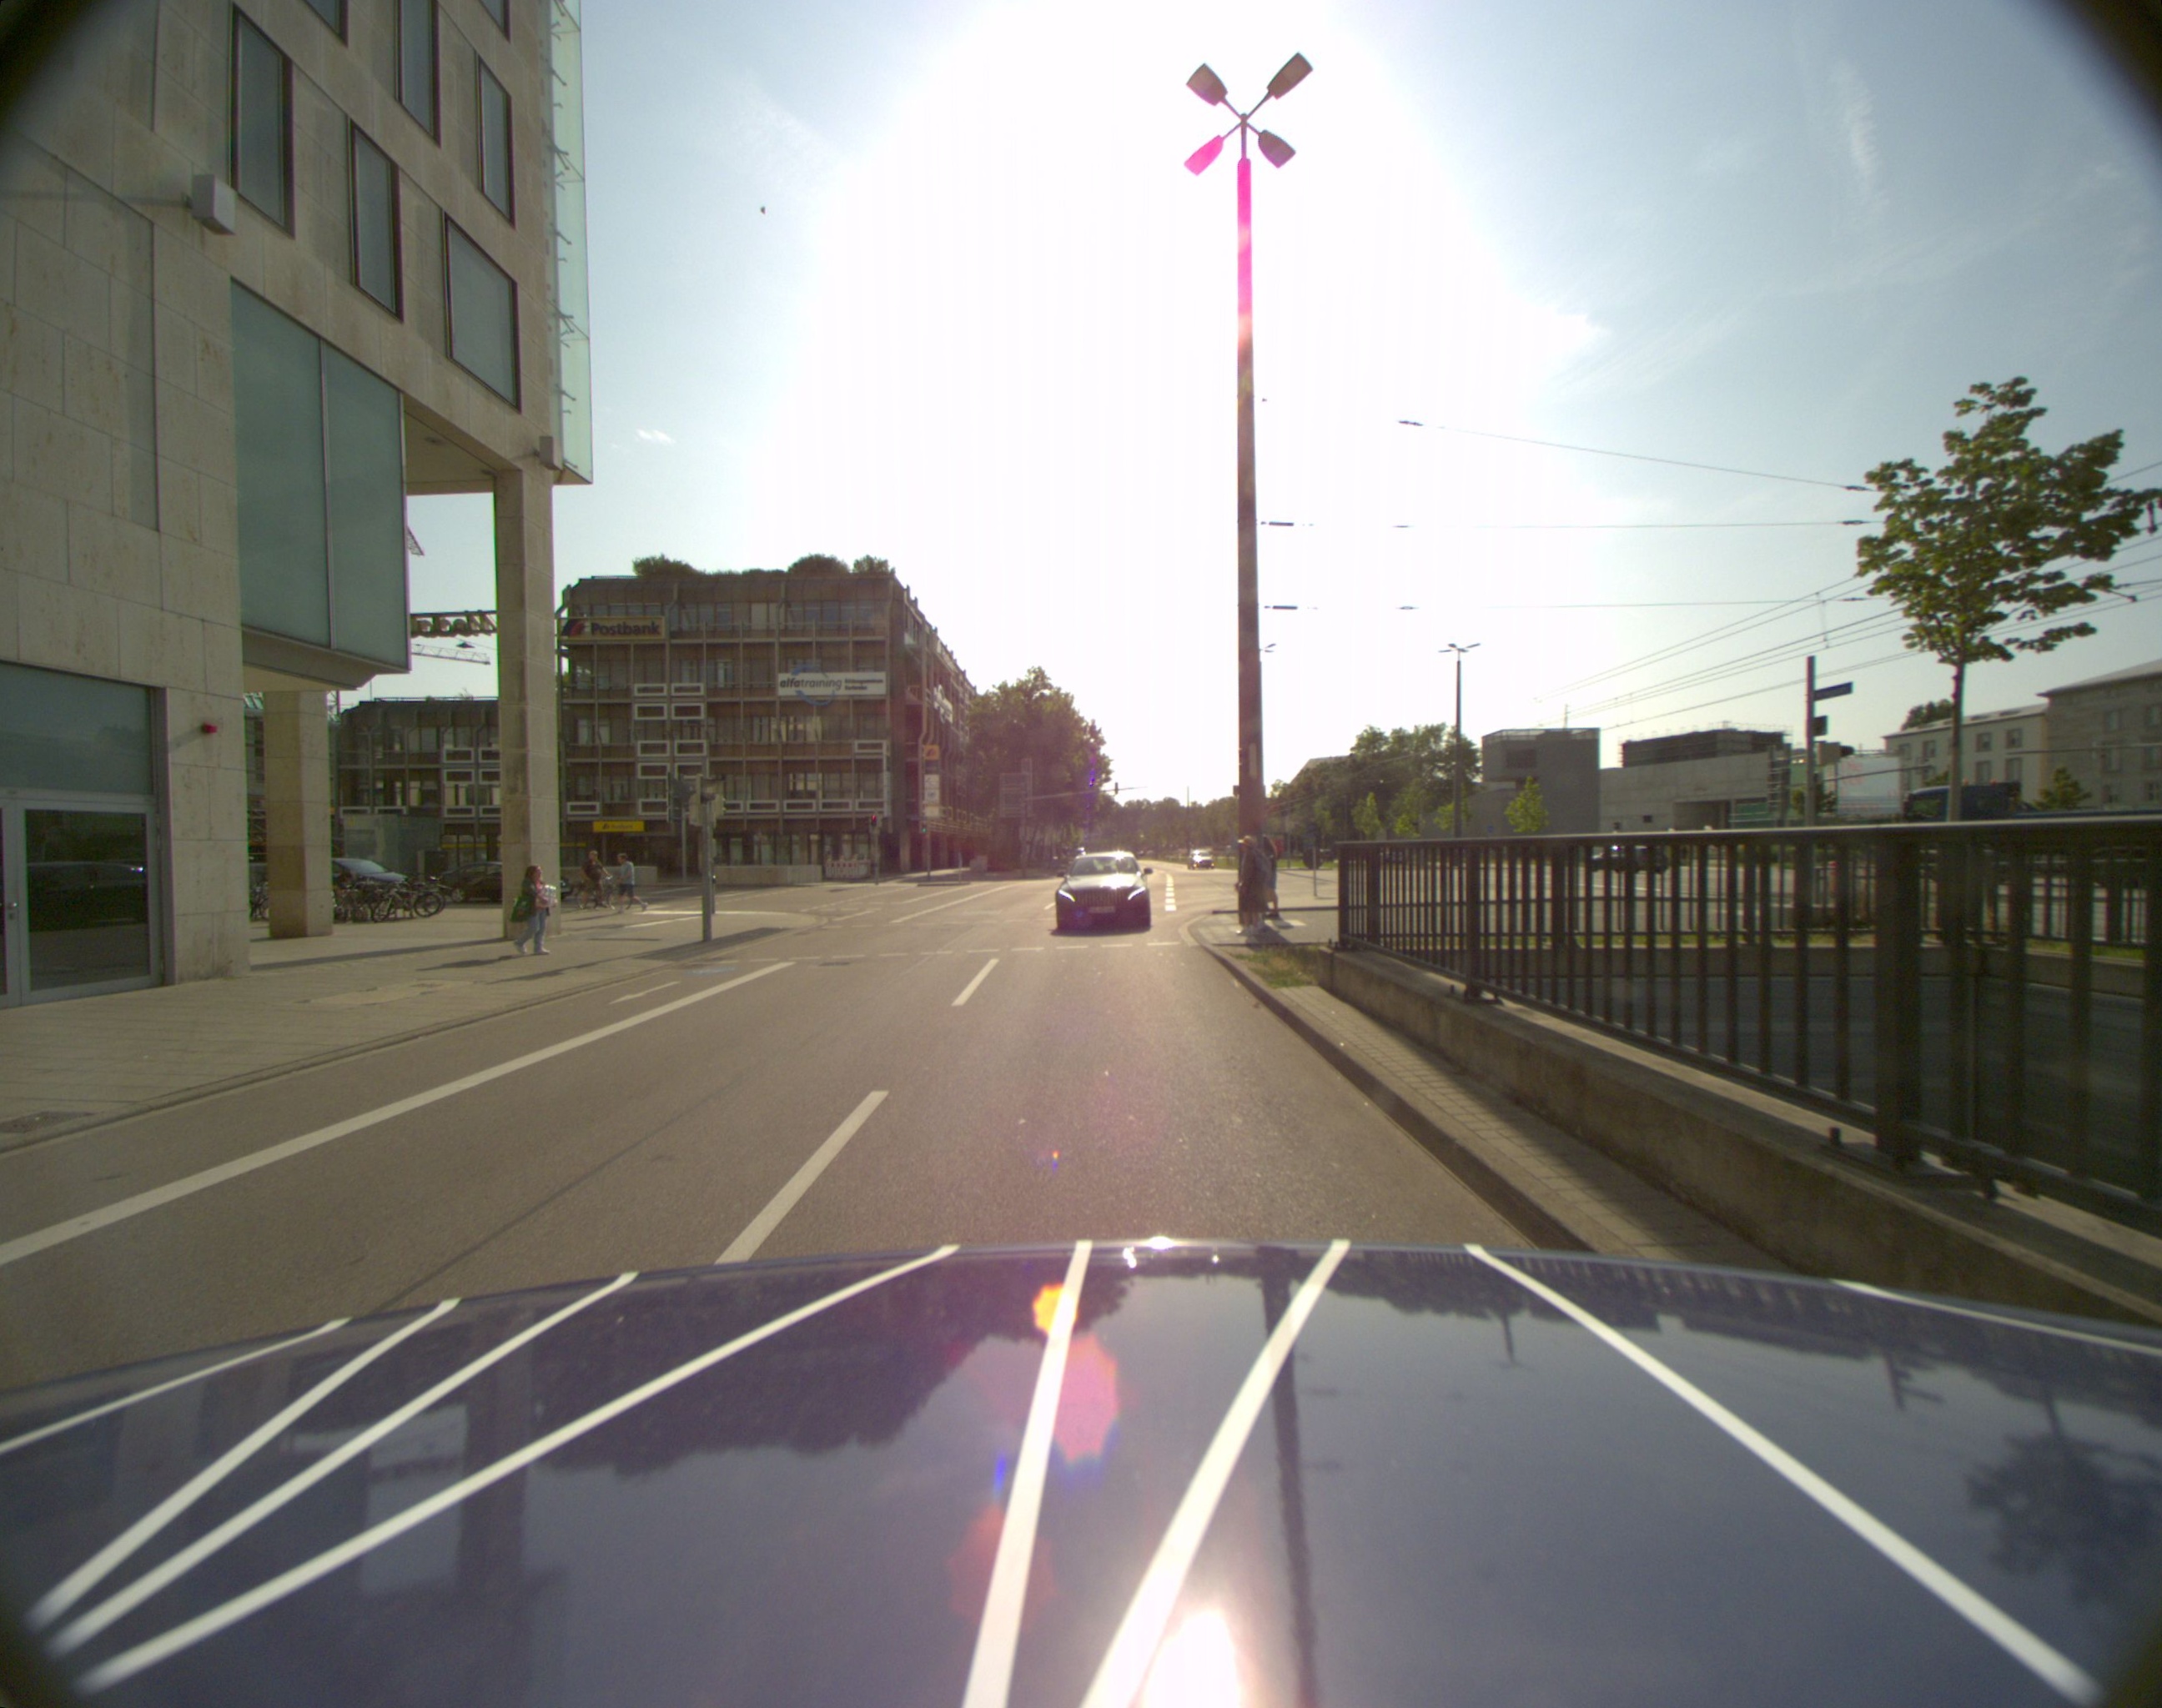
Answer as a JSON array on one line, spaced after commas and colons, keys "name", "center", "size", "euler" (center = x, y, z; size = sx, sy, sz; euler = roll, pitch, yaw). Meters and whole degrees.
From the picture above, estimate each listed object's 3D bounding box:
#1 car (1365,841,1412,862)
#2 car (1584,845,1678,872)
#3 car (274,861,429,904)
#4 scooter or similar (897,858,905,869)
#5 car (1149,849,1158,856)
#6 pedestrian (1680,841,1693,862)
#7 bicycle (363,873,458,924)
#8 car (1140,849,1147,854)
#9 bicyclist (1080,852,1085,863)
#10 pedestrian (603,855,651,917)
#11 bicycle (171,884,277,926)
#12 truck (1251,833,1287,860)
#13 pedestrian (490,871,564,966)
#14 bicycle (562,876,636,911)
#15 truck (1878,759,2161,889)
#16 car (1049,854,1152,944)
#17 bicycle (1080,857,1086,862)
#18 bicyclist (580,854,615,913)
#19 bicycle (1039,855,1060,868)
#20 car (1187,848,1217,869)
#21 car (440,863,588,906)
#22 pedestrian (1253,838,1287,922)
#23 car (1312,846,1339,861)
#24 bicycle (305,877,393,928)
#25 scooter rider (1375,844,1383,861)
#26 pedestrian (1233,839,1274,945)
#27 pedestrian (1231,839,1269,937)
[{"name": "car", "center": [26.677, -0.199, 66.050], "size": [1.621, 1.778, 4.514], "euler": [-1, 0, -9]}, {"name": "car", "center": [29.329, 0.219, 40.719], "size": [1.600, 1.339, 4.422], "euler": [-1, 0, -4]}, {"name": "car", "center": [-26.091, 1.001, 27.272], "size": [3.909, 1.394, 1.879], "euler": [-1, 1, 6]}, {"name": "scooter or similar", "center": [-13.216, 0.692, 55.783], "size": [0.279, 0.838, 0.959], "euler": [-1, 1, 1]}, {"name": "car", "center": [21.405, -0.419, 224.415], "size": [1.998, 2.002, 3.999], "euler": [-2, 1, 1]}, {"name": "pedestrian", "center": [48.892, -0.227, 61.338], "size": [0.606, 1.687, 0.538], "euler": [-1, 1, 5]}, {"name": "bicycle", "center": [-18.048, 1.166, 20.522], "size": [0.614, 1.230, 2.070], "euler": [-1, 1, 3]}, {"name": "car", "center": [19.512, -0.793, 236.509], "size": [1.998, 1.524, 3.999], "euler": [-2, 1, 1]}, {"name": "bicyclist", "center": [0.227, 0.516, 111.597], "size": [0.612, 1.505, 0.813], "euler": [-1, 1, -9]}, {"name": "pedestrian", "center": [-12.900, 0.887, 21.595], "size": [0.644, 1.701, 0.990], "euler": [-1, 1, 9]}, {"name": "bicycle", "center": [-22.549, 1.324, 20.045], "size": [0.459, 0.951, 1.857], "euler": [-1, 1, 10]}, {"name": "truck", "center": [27.542, -1.124, 111.874], "size": [2.979, 3.787, 10.423], "euler": [-1, 0, 2]}, {"name": "pedestrian", "center": [-8.952, 1.024, 12.296], "size": [0.709, 1.479, 0.605], "euler": [-1, 1, 3]}, {"name": "bicycle", "center": [-14.438, 1.178, 22.785], "size": [1.806, 1.011, 0.612], "euler": [-1, 1, 1]}, {"name": "truck", "center": [31.035, -0.849, 23.394], "size": [3.031, 3.565, 8.884], "euler": [-1, 0, -7]}, {"name": "car", "center": [0.483, 0.766, 15.354], "size": [1.716, 1.429, 5.058], "euler": [-1, 1, 3]}, {"name": "bicycle", "center": [0.251, 0.850, 111.418], "size": [0.630, 0.702, 1.808], "euler": [-1, 0, -8]}, {"name": "bicyclist", "center": [-14.500, 0.871, 22.780], "size": [0.636, 1.728, 0.582], "euler": [-1, 1, 1]}, {"name": "bicycle", "center": [-2.801, 0.659, 67.303], "size": [1.831, 1.181, 0.537], "euler": [0, 1, 6]}, {"name": "car", "center": [9.274, 0.334, 58.510], "size": [1.708, 1.424, 3.869], "euler": [-3, 0, 2]}, {"name": "car", "center": [-19.990, 1.050, 26.903], "size": [3.901, 1.359, 1.877], "euler": [-1, 2, 5]}, {"name": "pedestrian", "center": [3.794, 0.509, 15.289], "size": [0.468, 1.640, 0.777], "euler": [-1, 1, 1]}, {"name": "car", "center": [27.359, -0.078, 85.077], "size": [1.644, 1.592, 3.999], "euler": [-1, 0, -2]}, {"name": "bicycle", "center": [-18.796, 1.220, 19.574], "size": [0.501, 1.192, 1.793], "euler": [-1, 1, 0]}, {"name": "scooter rider", "center": [30.498, -0.145, 77.759], "size": [0.538, 1.688, 0.549], "euler": [-1, 1, -4]}, {"name": "pedestrian", "center": [2.771, 0.591, 12.229], "size": [0.468, 1.640, 0.777], "euler": [-1, 1, 1]}, {"name": "pedestrian", "center": [2.925, 0.564, 13.170], "size": [0.468, 1.640, 0.777], "euler": [-1, 1, 1]}]
